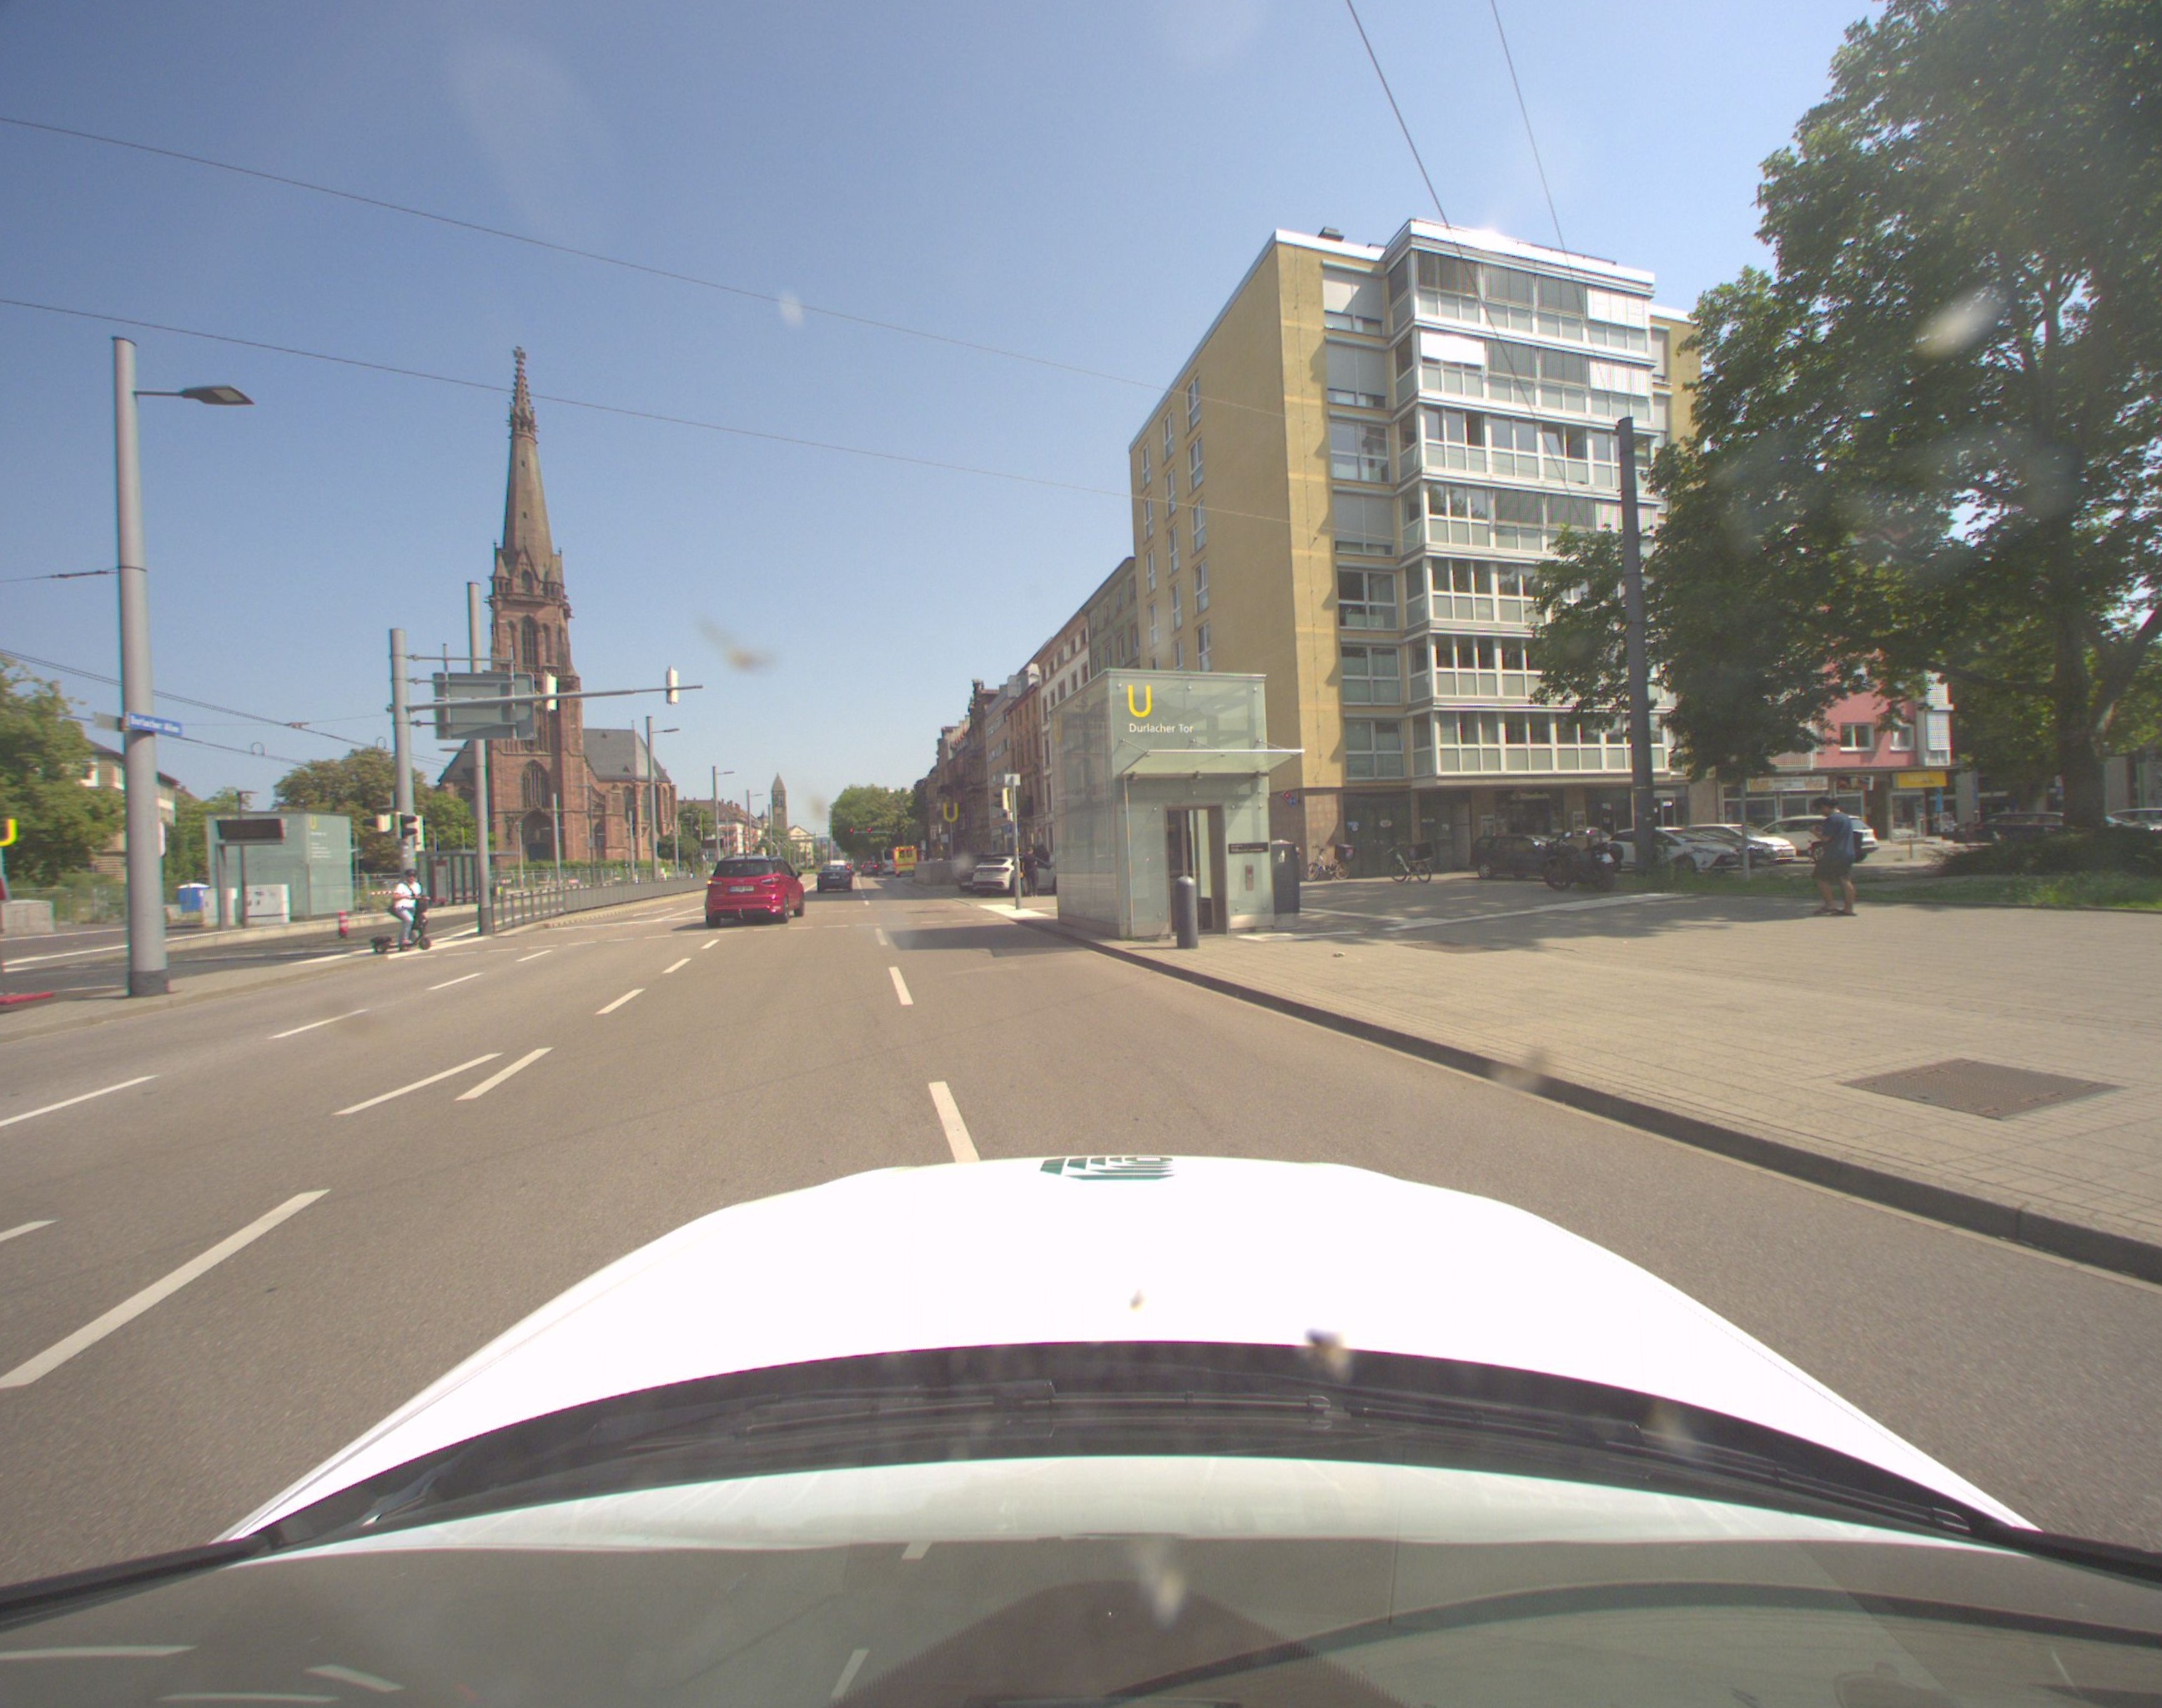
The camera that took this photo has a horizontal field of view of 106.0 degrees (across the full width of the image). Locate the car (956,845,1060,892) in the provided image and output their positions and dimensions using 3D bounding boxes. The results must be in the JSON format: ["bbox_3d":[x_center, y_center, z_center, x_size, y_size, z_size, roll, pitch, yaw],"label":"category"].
[{"bbox_3d":[-2.937,0.569,33.744,1.961,1.687,4.421,-3,0,32],"label":"car"}]

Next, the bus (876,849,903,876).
[{"bbox_3d":[-23.688,1.062,100.209,2.539,3.031,12.368,-3,0,-16],"label":"bus"}]

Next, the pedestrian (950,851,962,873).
[{"bbox_3d":[-10.249,0.631,66.946,0.850,1.728,0.968,-4,2,-10],"label":"pedestrian"}]

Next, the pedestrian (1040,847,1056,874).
[{"bbox_3d":[-2.344,0.446,57.824,0.845,1.846,0.681,-4,0,-25],"label":"pedestrian"}]

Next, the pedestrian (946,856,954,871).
[{"bbox_3d":[-14.367,1.041,89.292,0.698,1.667,1.059,-2,0,-14],"label":"pedestrian"}]

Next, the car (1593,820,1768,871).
[{"bbox_3d":[19.309,-0.243,26.481,1.906,1.470,4.220,-3,0,-19],"label":"car"}]

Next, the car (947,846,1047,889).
[{"bbox_3d":[-3.775,0.591,37.532,2.017,1.713,4.696,-3,0,32],"label":"car"}]

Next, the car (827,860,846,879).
[{"bbox_3d":[-25.053,1.614,83.448,1.795,1.780,3.976,-2,-1,-17],"label":"car"}]

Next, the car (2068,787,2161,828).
[{"bbox_3d":[47.190,-2.099,36.062,1.790,1.666,4.048,-3,0,-19],"label":"car"}]

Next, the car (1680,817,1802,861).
[{"bbox_3d":[23.433,-0.502,29.015,1.403,1.428,3.079,-3,0,-19],"label":"car"}]

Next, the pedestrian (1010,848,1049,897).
[{"bbox_3d":[-1.853,0.643,29.282,1.044,1.704,0.893,-1,-1,-43],"label":"pedestrian"}]

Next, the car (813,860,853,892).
[{"bbox_3d":[-12.678,1.092,41.854,1.794,1.431,3.979,-3,0,-16],"label":"car"}]

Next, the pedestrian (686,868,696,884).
[{"bbox_3d":[-45.069,2.519,94.063,0.831,1.752,0.717,-3,-1,-16],"label":"pedestrian"}]

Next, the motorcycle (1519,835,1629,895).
[{"bbox_3d":[10.323,0.213,17.152,0.907,1.136,2.110,-3,0,-4],"label":"motorcycle"}]

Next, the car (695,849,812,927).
[{"bbox_3d":[-7.894,0.811,20.023,1.762,1.618,4.068,-3,-1,-10],"label":"car"}]

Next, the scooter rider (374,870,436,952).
[{"bbox_3d":[-14.481,1.227,17.470,0.774,1.673,0.774,-3,-4,-20],"label":"scooter rider"}]

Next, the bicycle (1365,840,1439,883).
[{"bbox_3d":[9.916,0.242,25.269,0.794,1.238,2.421,-3,0,-16],"label":"bicycle"}]

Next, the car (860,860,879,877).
[{"bbox_3d":[-23.259,1.623,89.425,1.795,1.677,3.976,-2,-1,-17],"label":"car"}]

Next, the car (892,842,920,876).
[{"bbox_3d":[-16.424,0.467,76.401,2.301,2.888,5.575,-4,1,-12],"label":"car"}]

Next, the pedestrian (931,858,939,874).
[{"bbox_3d":[-16.399,1.343,91.382,0.692,1.667,0.604,-2,0,10],"label":"pedestrian"}]

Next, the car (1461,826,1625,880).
[{"bbox_3d":[14.296,-0.024,25.493,1.906,1.470,4.220,-3,0,-19],"label":"car"}]

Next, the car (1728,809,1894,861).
[{"bbox_3d":[26.053,-0.618,29.259,1.790,1.666,4.048,-3,0,-19],"label":"car"}]

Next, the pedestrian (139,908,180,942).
[{"bbox_3d":[-43.242,3.328,38.200,1.679,1.486,0.617,-3,0,19],"label":"pedestrian"}]

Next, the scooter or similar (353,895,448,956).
[{"bbox_3d":[-14.547,1.518,17.438,1.342,1.148,0.705,-3,0,-19],"label":"scooter or similar"}]

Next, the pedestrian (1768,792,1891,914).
[{"bbox_3d":[10.463,-0.016,11.414,0.793,1.609,0.943,-3,-1,-19],"label":"pedestrian"}]

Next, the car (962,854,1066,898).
[{"bbox_3d":[-2.443,0.782,30.569,1.784,1.500,3.809,0,0,38],"label":"car"}]

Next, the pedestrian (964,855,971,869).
[{"bbox_3d":[-12.500,0.842,89.678,0.645,1.493,0.785,-3,0,-17],"label":"pedestrian"}]

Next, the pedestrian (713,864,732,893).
[{"bbox_3d":[-22.050,1.501,50.127,0.761,1.752,1.064,-3,-1,-12],"label":"pedestrian"}]

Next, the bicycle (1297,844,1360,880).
[{"bbox_3d":[8.623,0.286,28.377,1.958,1.143,0.596,-3,0,-2],"label":"bicycle"}]

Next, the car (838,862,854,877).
[{"bbox_3d":[-29.116,1.936,100.687,1.795,1.698,3.976,-2,-1,-17],"label":"car"}]

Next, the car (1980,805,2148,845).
[{"bbox_3d":[40.505,-1.171,33.700,1.790,1.397,4.048,-3,0,-19],"label":"car"}]

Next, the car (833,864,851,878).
[{"bbox_3d":[-27.021,1.899,91.970,1.795,1.472,3.976,-2,-1,-17],"label":"car"}]

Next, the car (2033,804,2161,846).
[{"bbox_3d":[44.809,-1.255,35.391,1.790,1.666,4.048,-3,0,-19],"label":"car"}]
